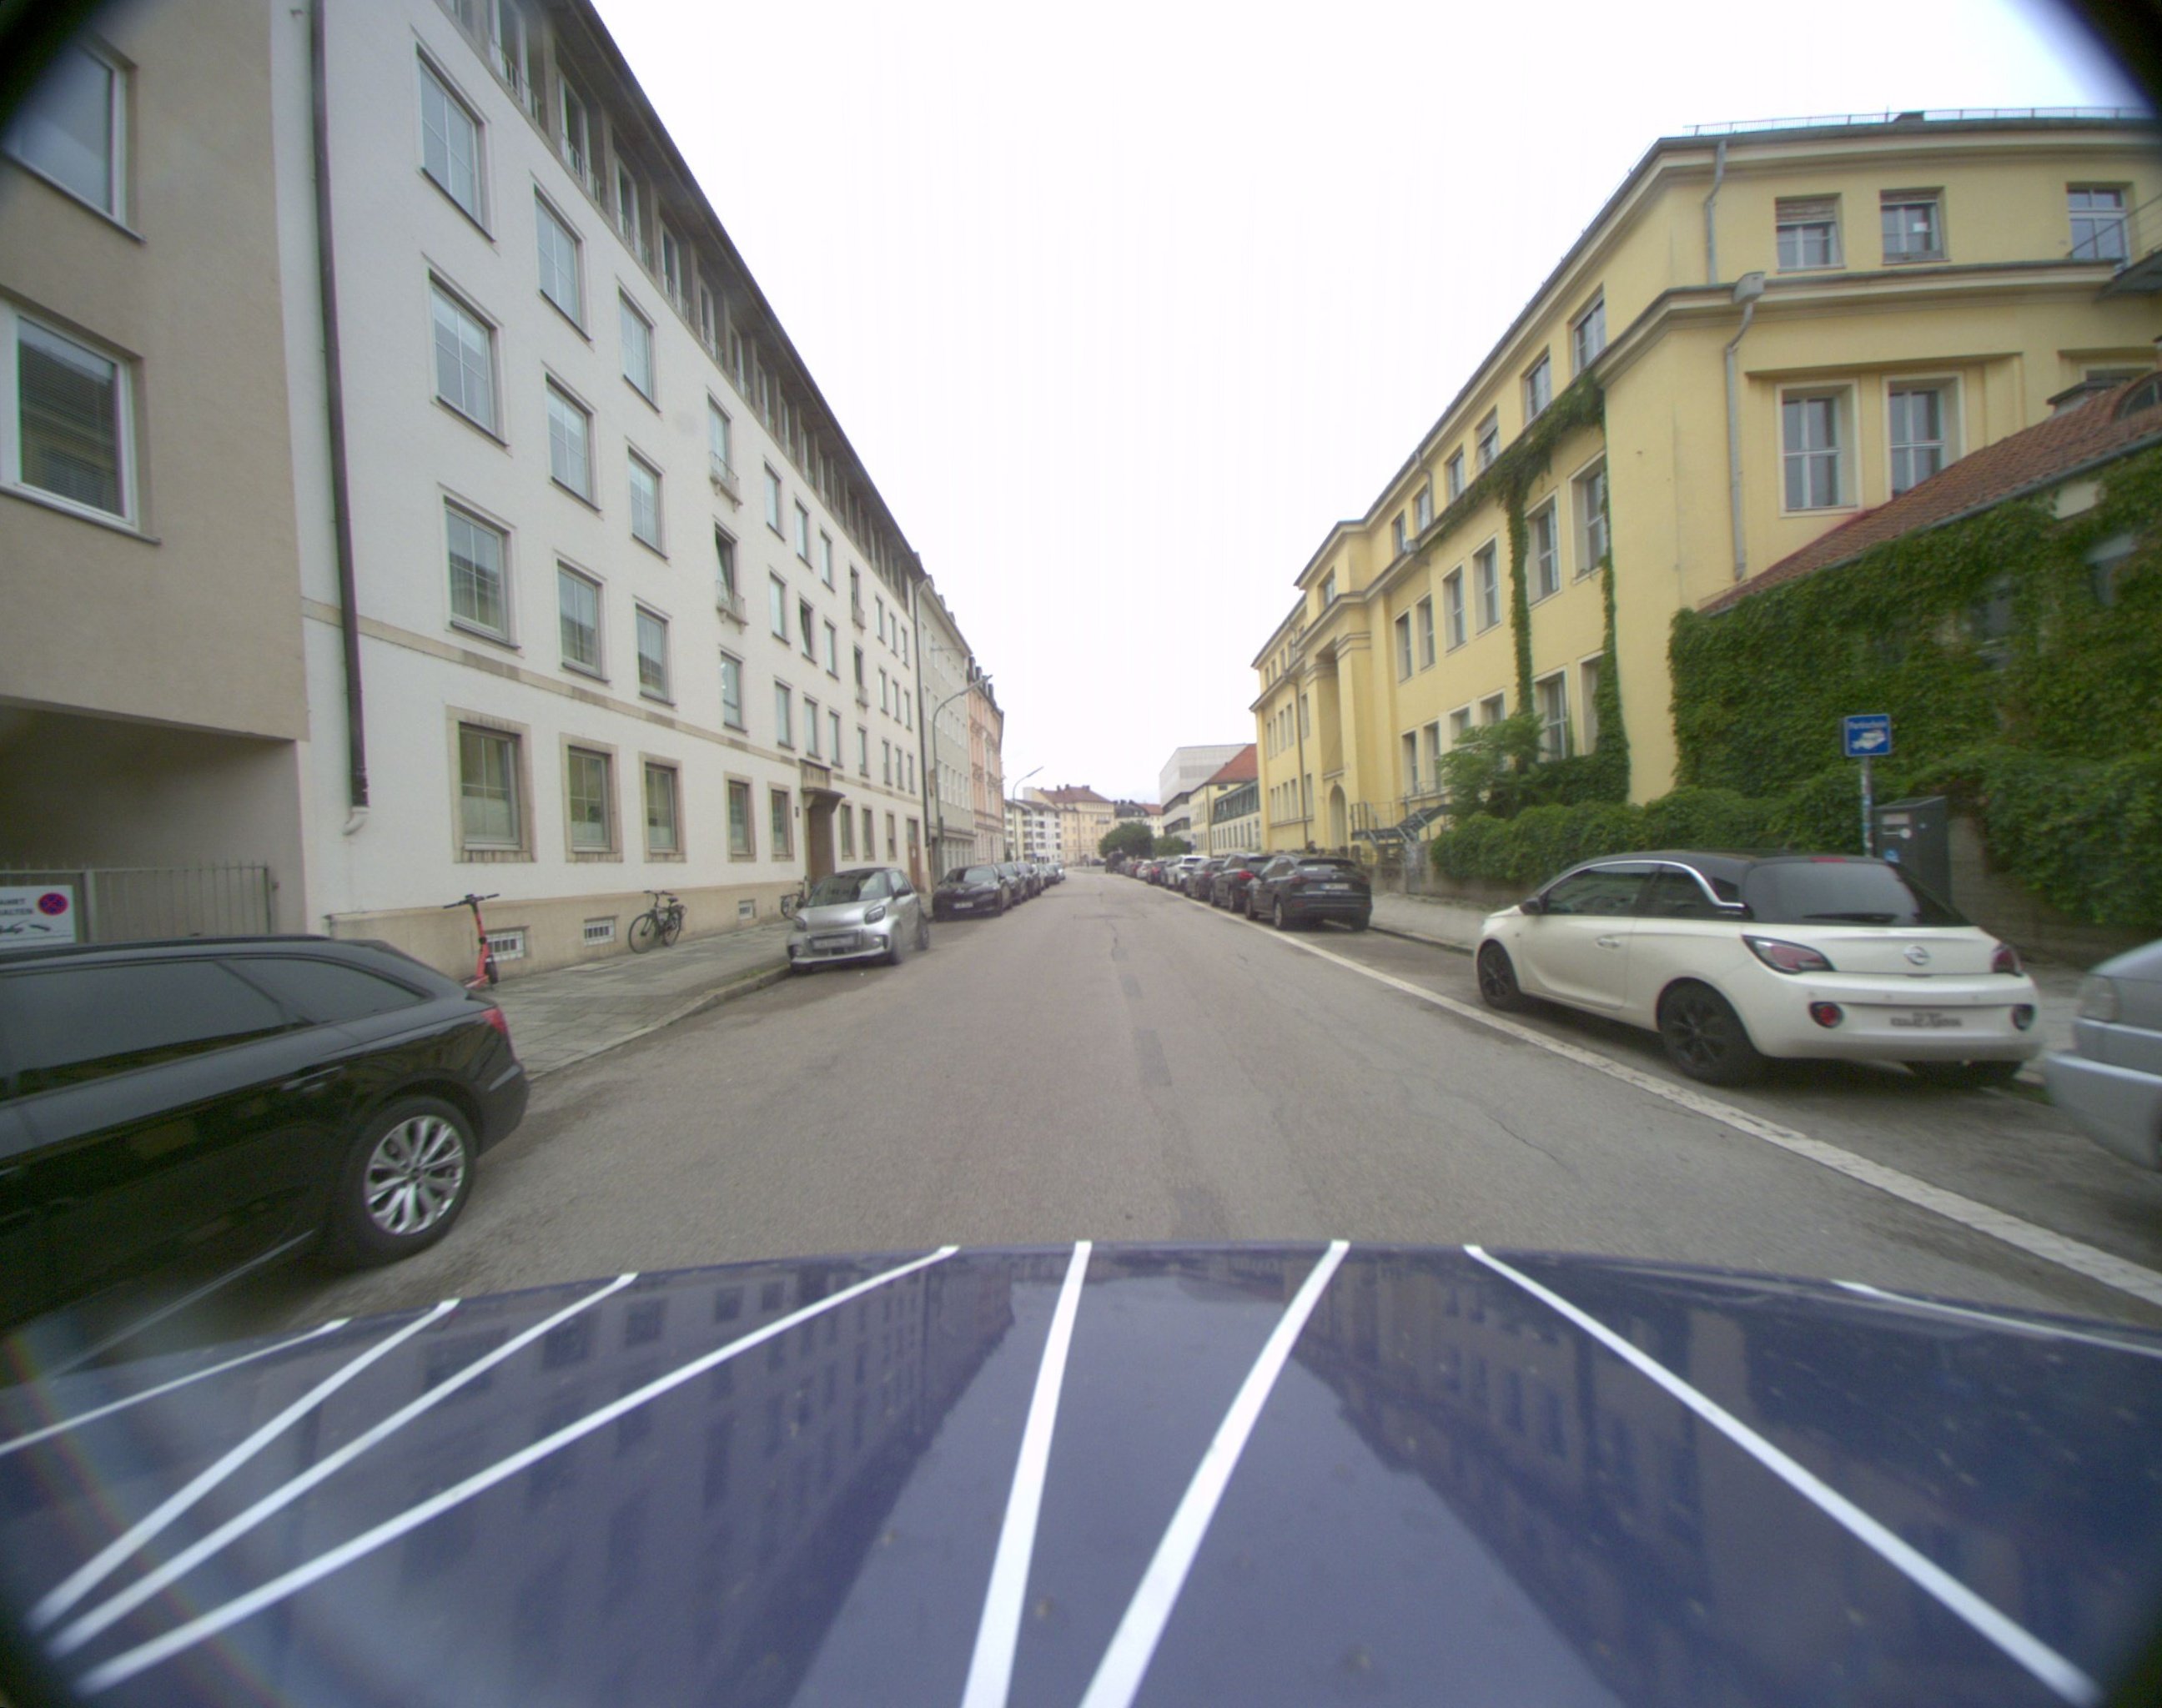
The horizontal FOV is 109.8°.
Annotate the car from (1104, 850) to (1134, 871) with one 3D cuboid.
[{"bbox_3d":[4.942,0.814,100.063,2.848,2.536,6.890,-2,0,-5],"label":"car"}]

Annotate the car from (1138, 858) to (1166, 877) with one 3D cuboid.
[{"bbox_3d":[5.361,1.023,57.684,1.816,1.389,4.020,0,0,1],"label":"car"}]

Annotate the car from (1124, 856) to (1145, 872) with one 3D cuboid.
[{"bbox_3d":[5.883,1.101,83.670,1.998,1.631,4.210,-2,0,1],"label":"car"}]

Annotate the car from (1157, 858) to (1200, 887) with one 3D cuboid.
[{"bbox_3d":[5.091,0.919,40.115,1.611,1.438,3.917,1,0,-2],"label":"car"}]

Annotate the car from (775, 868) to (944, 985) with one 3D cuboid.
[{"bbox_3d":[-3.568,1.098,12.869,1.618,1.508,3.380,-7,0,2],"label":"car"}]

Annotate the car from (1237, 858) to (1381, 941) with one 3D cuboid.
[{"bbox_3d":[4.606,0.850,16.021,1.721,1.472,4.220,1,0,-1],"label":"car"}]

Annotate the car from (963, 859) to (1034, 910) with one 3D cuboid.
[{"bbox_3d":[-2.909,1.042,27.742,1.831,1.572,4.491,-4,0,2],"label":"car"}]

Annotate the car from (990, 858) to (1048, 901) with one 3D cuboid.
[{"bbox_3d":[-2.606,1.040,32.894,1.831,1.572,4.492,-4,0,2],"label":"car"}]

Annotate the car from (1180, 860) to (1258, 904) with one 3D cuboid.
[{"bbox_3d":[4.728,0.914,26.671,1.778,1.400,4.601,1,0,-1],"label":"car"}]

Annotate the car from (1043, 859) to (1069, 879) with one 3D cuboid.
[{"bbox_3d":[-2.266,1.350,69.313,2.001,1.563,4.491,-5,0,1],"label":"car"}]

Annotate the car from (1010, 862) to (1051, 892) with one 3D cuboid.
[{"bbox_3d":[-2.676,1.190,41.043,1.745,1.421,4.182,-4,0,1],"label":"car"}]

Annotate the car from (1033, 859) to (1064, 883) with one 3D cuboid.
[{"bbox_3d":[-2.248,1.169,53.232,1.724,1.457,4.193,-5,0,2],"label":"car"}]

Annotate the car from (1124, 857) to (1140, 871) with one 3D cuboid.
[{"bbox_3d":[5.941,1.148,88.480,1.673,1.509,3.947,-2,0,1],"label":"car"}]

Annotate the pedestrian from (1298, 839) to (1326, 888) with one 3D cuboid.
[{"bbox_3d":[8.848,0.354,29.121,0.776,1.813,0.782,-2,0,4],"label":"pedestrian"}]

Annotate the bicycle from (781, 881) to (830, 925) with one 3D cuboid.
[{"bbox_3d":[-7.453,1.306,20.636,0.599,1.073,2.040,0,0,0],"label":"bicycle"}]

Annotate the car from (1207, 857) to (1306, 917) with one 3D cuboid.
[{"bbox_3d":[4.744,0.841,21.117,1.774,1.494,4.273,0,0,0],"label":"car"}]

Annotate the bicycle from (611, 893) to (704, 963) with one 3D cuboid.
[{"bbox_3d":[-7.629,1.298,13.786,0.631,1.085,1.837,0,0,0],"label":"bicycle"}]

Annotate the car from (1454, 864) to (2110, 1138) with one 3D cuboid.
[{"bbox_3d":[4.546,0.793,5.755,1.671,1.401,3.559,0,0,0],"label":"car"}]

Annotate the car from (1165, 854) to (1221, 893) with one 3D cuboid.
[{"bbox_3d":[5.027,0.841,34.676,1.786,1.631,4.299,1,0,-2],"label":"car"}]

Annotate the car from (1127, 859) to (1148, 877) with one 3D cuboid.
[{"bbox_3d":[5.119,1.222,69.019,1.673,1.509,3.947,-2,0,1],"label":"car"}]

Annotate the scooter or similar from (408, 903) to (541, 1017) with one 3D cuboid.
[{"bbox_3d":[-7.636,1.303,9.629,0.731,1.267,1.095,-3,0,1],"label":"scooter or similar"}]

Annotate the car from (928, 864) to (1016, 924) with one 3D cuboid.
[{"bbox_3d":[-3.101,1.097,22.654,1.878,1.439,4.700,-4,0,0],"label":"car"}]

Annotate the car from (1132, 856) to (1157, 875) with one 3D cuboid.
[{"bbox_3d":[5.218,0.949,63.013,1.774,1.545,4.210,0,0,1],"label":"car"}]

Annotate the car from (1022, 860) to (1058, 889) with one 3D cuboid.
[{"bbox_3d":[-2.453,1.194,46.571,1.768,1.531,4.000,-6,0,1],"label":"car"}]

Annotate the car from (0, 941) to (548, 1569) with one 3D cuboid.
[{"bbox_3d":[-3.696,1.193,1.576,1.831,1.373,4.491,-5,0,1],"label":"car"}]

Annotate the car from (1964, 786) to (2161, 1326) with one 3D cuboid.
[{"bbox_3d":[4.516,0.682,0.626,1.898,1.788,4.881,2,0,1],"label":"car"}]

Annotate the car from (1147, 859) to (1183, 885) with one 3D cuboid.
[{"bbox_3d":[4.906,1.022,44.864,1.738,1.431,3.780,0,0,1],"label":"car"}]
